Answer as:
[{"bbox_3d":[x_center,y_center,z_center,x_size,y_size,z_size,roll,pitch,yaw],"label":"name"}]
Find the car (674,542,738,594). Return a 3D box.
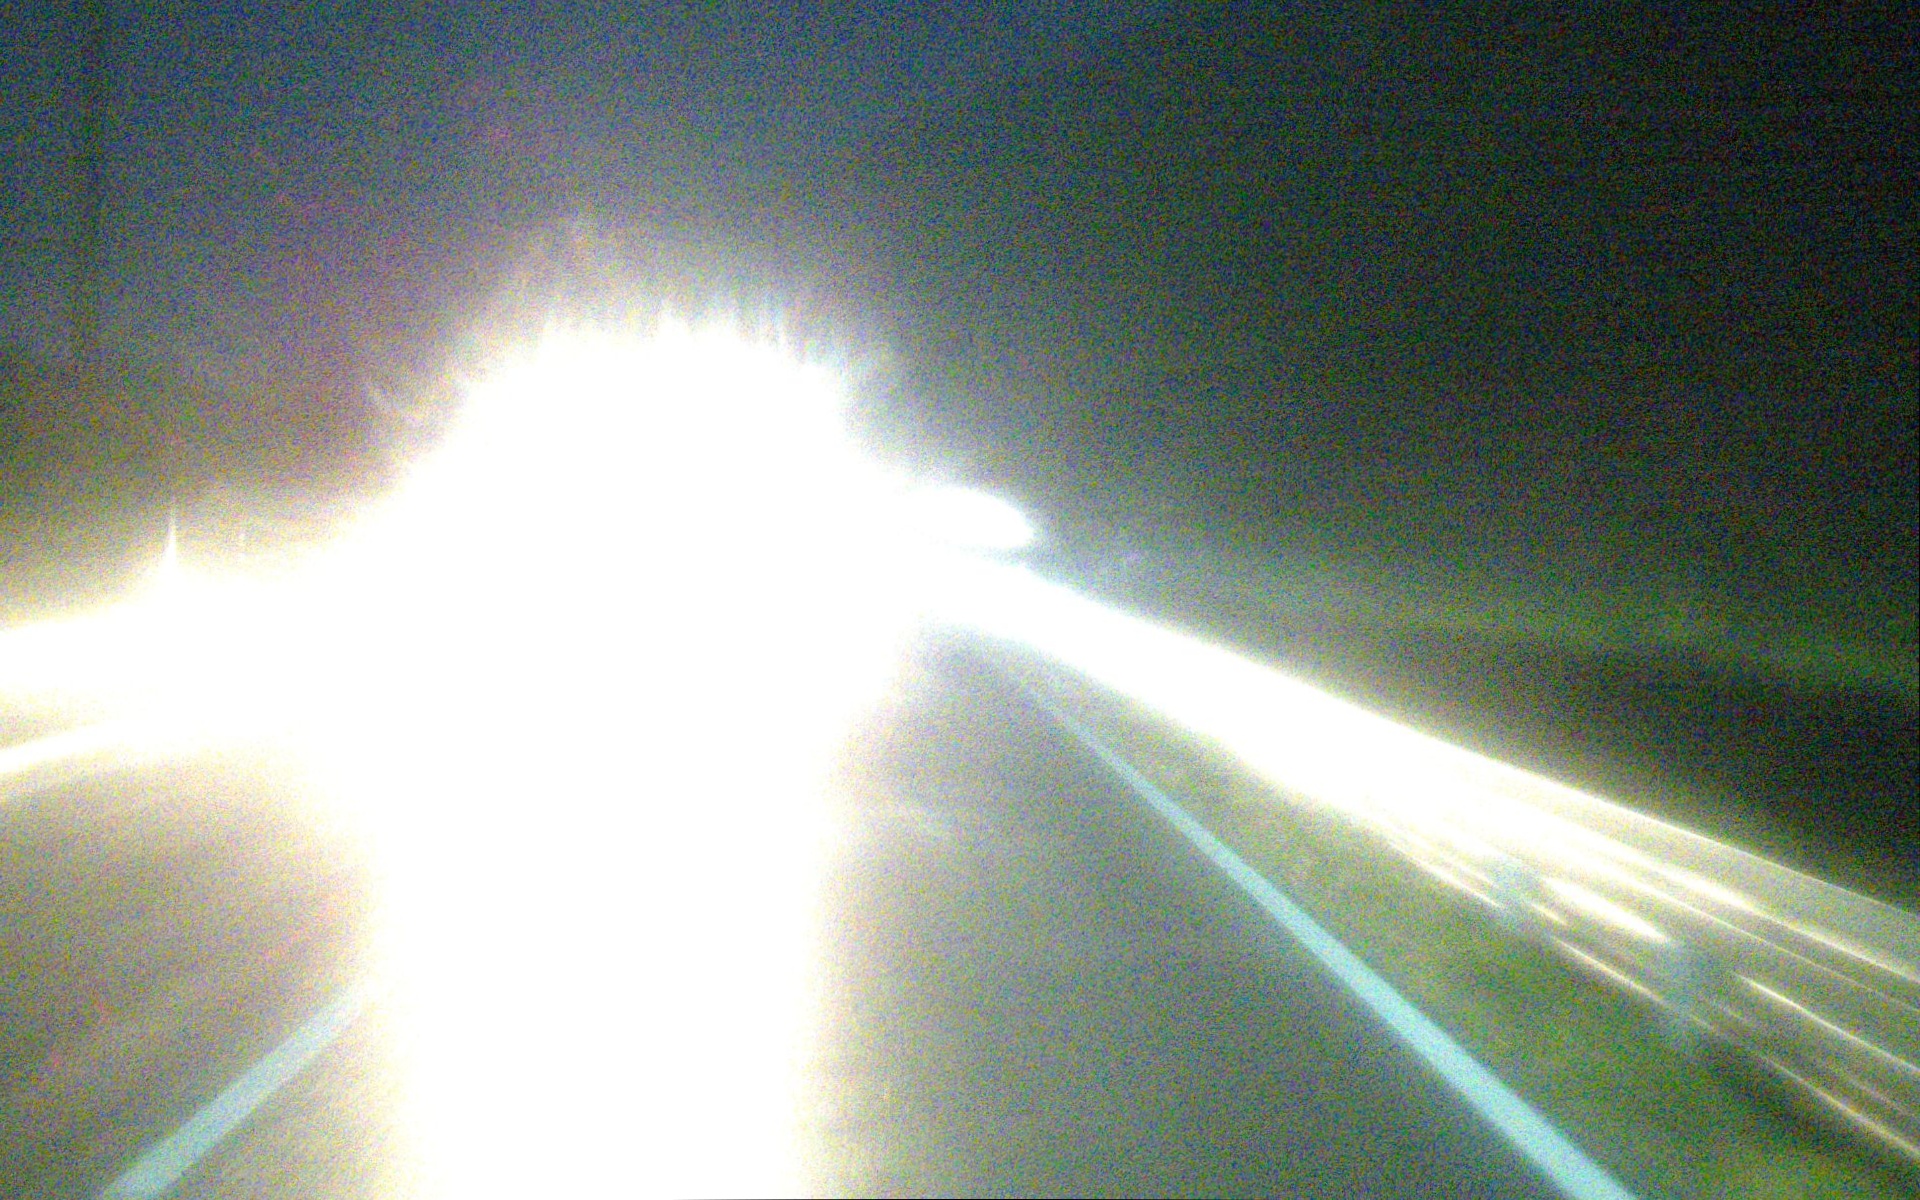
[{"bbox_3d":[-6.916,-0.888,93.795,1.641,1.355,3.681,0,1,-3],"label":"car"}]

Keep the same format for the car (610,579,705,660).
[{"bbox_3d":[-5.736,0.350,65.417,1.665,1.451,3.427,0,1,-3],"label":"car"}]

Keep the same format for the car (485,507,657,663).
[{"bbox_3d":[-4.877,-0.215,43.567,1.832,1.864,4.429,0,1,-2],"label":"car"}]
